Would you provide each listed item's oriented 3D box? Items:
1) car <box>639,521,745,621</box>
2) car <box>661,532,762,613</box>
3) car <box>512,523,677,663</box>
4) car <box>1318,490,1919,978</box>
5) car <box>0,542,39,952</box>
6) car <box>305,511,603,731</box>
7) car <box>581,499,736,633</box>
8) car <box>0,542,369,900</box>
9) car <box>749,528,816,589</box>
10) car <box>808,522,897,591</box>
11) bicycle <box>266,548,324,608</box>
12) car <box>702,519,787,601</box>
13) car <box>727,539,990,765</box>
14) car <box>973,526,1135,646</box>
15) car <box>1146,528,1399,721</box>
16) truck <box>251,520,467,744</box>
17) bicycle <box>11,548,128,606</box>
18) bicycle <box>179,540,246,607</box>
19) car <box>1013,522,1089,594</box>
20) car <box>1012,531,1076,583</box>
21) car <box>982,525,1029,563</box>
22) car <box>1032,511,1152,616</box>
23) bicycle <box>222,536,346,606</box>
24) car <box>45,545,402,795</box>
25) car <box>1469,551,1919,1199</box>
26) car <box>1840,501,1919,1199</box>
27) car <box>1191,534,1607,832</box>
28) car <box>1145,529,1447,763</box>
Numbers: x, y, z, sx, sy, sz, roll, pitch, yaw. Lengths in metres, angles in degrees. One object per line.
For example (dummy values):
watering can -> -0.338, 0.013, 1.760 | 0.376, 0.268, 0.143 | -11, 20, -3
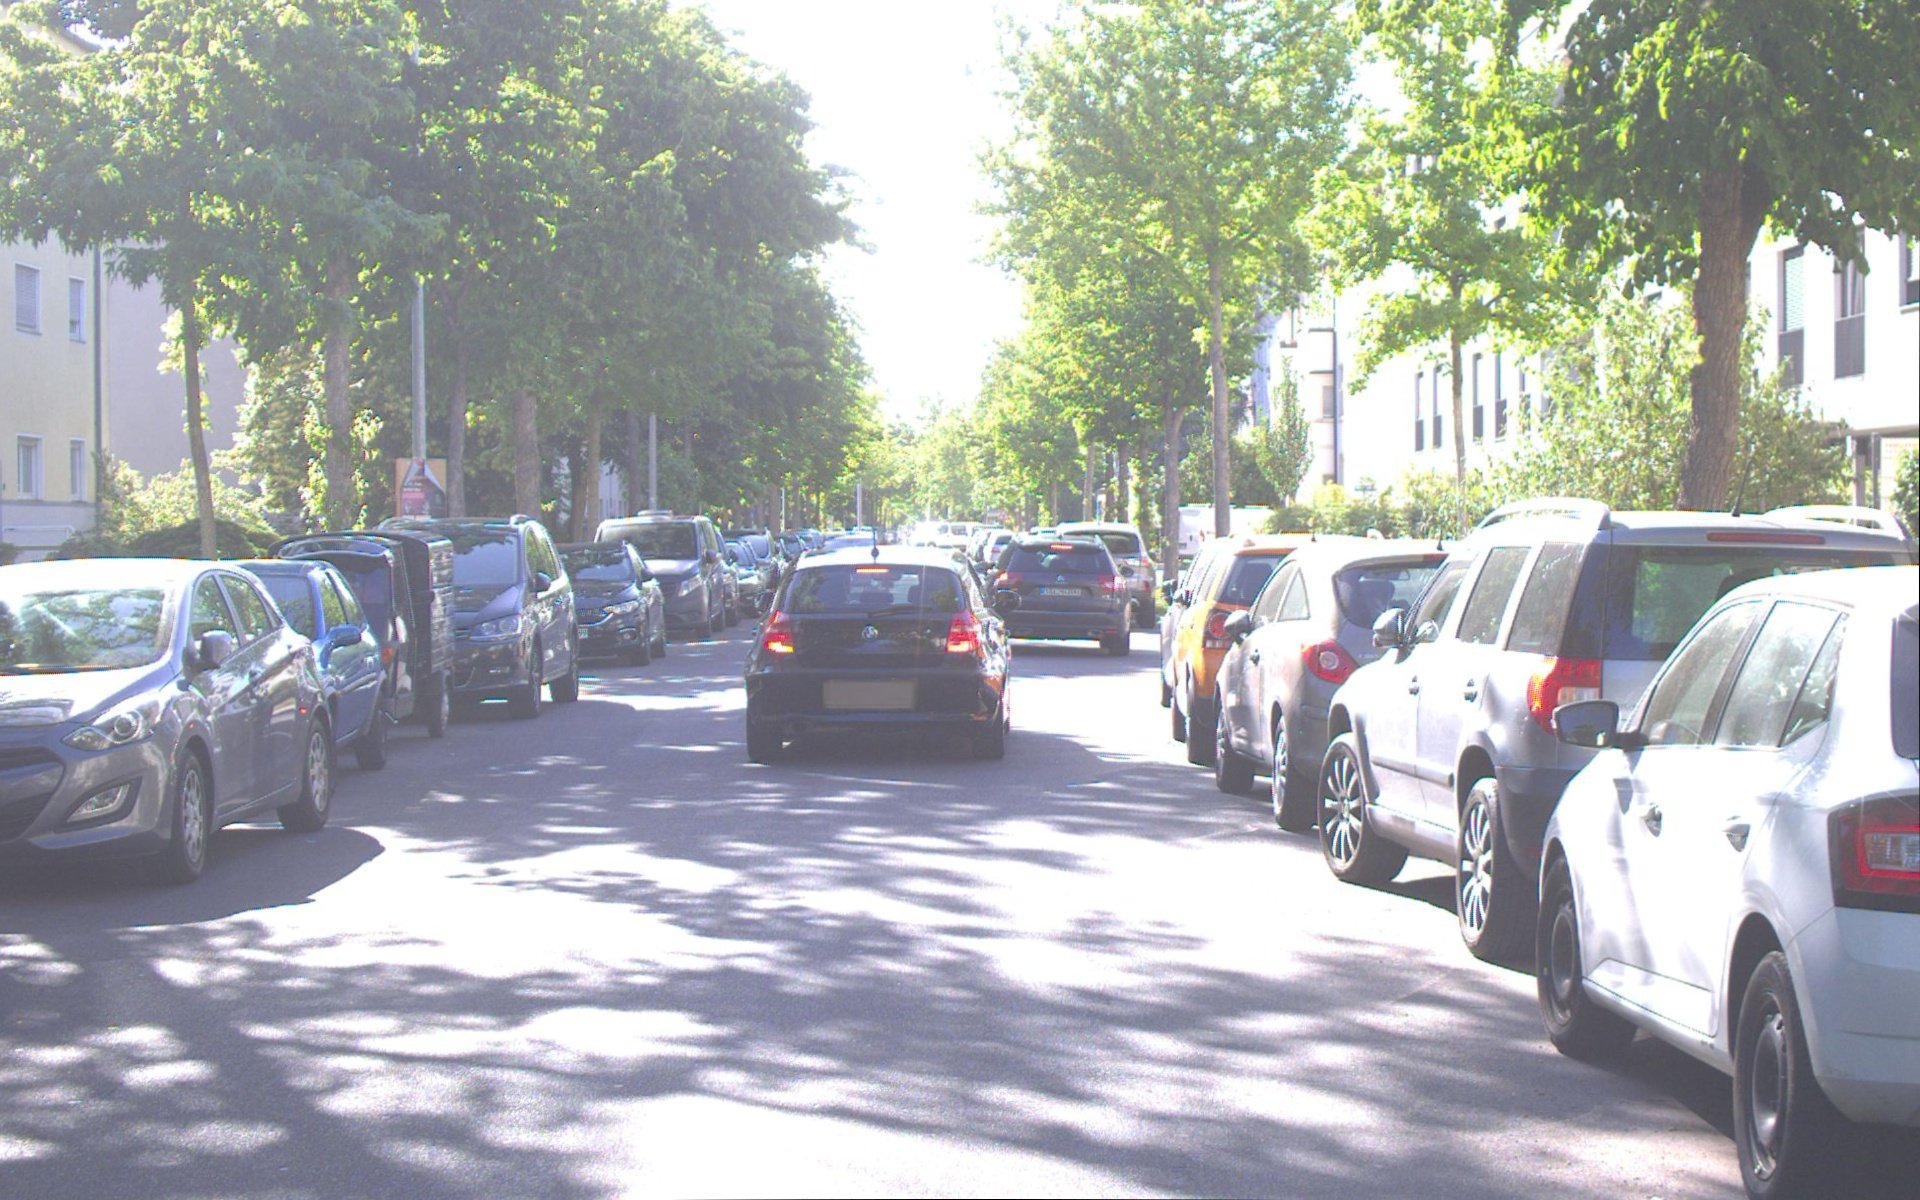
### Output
car -> -4.509, -0.518, 58.272 | 1.612, 1.606, 4.230 | -1, 1, -3
car -> -4.572, -0.532, 63.582 | 1.612, 1.422, 4.058 | -1, 1, -1
car -> -4.423, -0.127, 42.137 | 1.507, 1.543, 4.779 | -3, 1, -1
car -> 2.550, 0.409, 13.596 | 1.648, 1.650, 3.848 | 0, 1, -3
car -> -4.399, 0.617, 11.070 | 1.620, 1.510, 4.269 | -3, 1, 1
car -> -4.336, 0.109, 30.181 | 1.849, 1.675, 4.977 | -3, 1, -1
car -> -4.555, -0.548, 52.586 | 1.826, 1.898, 5.142 | -2, 1, 0
car -> -4.242, 0.485, 16.684 | 1.792, 1.439, 4.688 | -2, 1, 1
car -> -4.689, -1.117, 91.340 | 1.612, 1.537, 3.866 | -1, 1, -1
car -> -2.282, -0.940, 73.526 | 1.505, 1.421, 3.177 | 0, 1, 5
bicycle -> -11.283, -0.384, 58.355 | 0.594, 0.988, 1.928 | -1, 1, 0
car -> -4.619, -0.878, 74.113 | 1.612, 1.673, 4.234 | -1, 1, -1
car -> -0.667, 0.300, 23.546 | 1.649, 1.392, 3.412 | -1, 1, -1
car -> 1.149, -0.214, 43.675 | 1.649, 1.420, 4.002 | -1, 1, -4
car -> 2.505, 0.143, 28.343 | 1.700, 1.444, 4.082 | -1, 1, 0
truck -> -4.427, 0.198, 25.551 | 1.084, 1.572, 2.432 | -1, 1, 2
bicycle -> -15.763, -0.410, 60.877 | 1.921, 0.988, 0.597 | -1, 1, -7
bicycle -> -11.381, -0.418, 52.392 | 0.594, 0.988, 1.928 | -1, 1, 0
car -> 2.143, -1.014, 81.856 | 1.721, 1.635, 3.851 | 2, 1, 1
car -> 2.350, -1.228, 96.974 | 1.721, 1.374, 3.851 | 2, 1, 1
car -> 1.836, -2.244, 137.050 | 1.721, 1.475, 3.851 | -1, 1, 3
car -> 2.107, -0.592, 55.720 | 1.848, 1.625, 4.410 | 1, 1, 1
bicycle -> -12.033, -0.519, 61.225 | 2.144, 1.204, 0.690 | -1, 1, -11
car -> -4.512, 0.372, 21.528 | 1.520, 1.390, 3.727 | -1, 1, -2
car -> 2.483, 0.611, 8.955 | 1.629, 1.420, 4.368 | -1, 1, 0
car -> 2.622, 0.682, 4.359 | 1.684, 1.582, 4.536 | 2, 1, -2
car -> 2.284, 0.373, 18.717 | 1.649, 1.423, 3.613 | -1, 1, -2
car -> 2.234, 0.250, 23.778 | 1.636, 1.450, 4.100 | -1, 1, -1
